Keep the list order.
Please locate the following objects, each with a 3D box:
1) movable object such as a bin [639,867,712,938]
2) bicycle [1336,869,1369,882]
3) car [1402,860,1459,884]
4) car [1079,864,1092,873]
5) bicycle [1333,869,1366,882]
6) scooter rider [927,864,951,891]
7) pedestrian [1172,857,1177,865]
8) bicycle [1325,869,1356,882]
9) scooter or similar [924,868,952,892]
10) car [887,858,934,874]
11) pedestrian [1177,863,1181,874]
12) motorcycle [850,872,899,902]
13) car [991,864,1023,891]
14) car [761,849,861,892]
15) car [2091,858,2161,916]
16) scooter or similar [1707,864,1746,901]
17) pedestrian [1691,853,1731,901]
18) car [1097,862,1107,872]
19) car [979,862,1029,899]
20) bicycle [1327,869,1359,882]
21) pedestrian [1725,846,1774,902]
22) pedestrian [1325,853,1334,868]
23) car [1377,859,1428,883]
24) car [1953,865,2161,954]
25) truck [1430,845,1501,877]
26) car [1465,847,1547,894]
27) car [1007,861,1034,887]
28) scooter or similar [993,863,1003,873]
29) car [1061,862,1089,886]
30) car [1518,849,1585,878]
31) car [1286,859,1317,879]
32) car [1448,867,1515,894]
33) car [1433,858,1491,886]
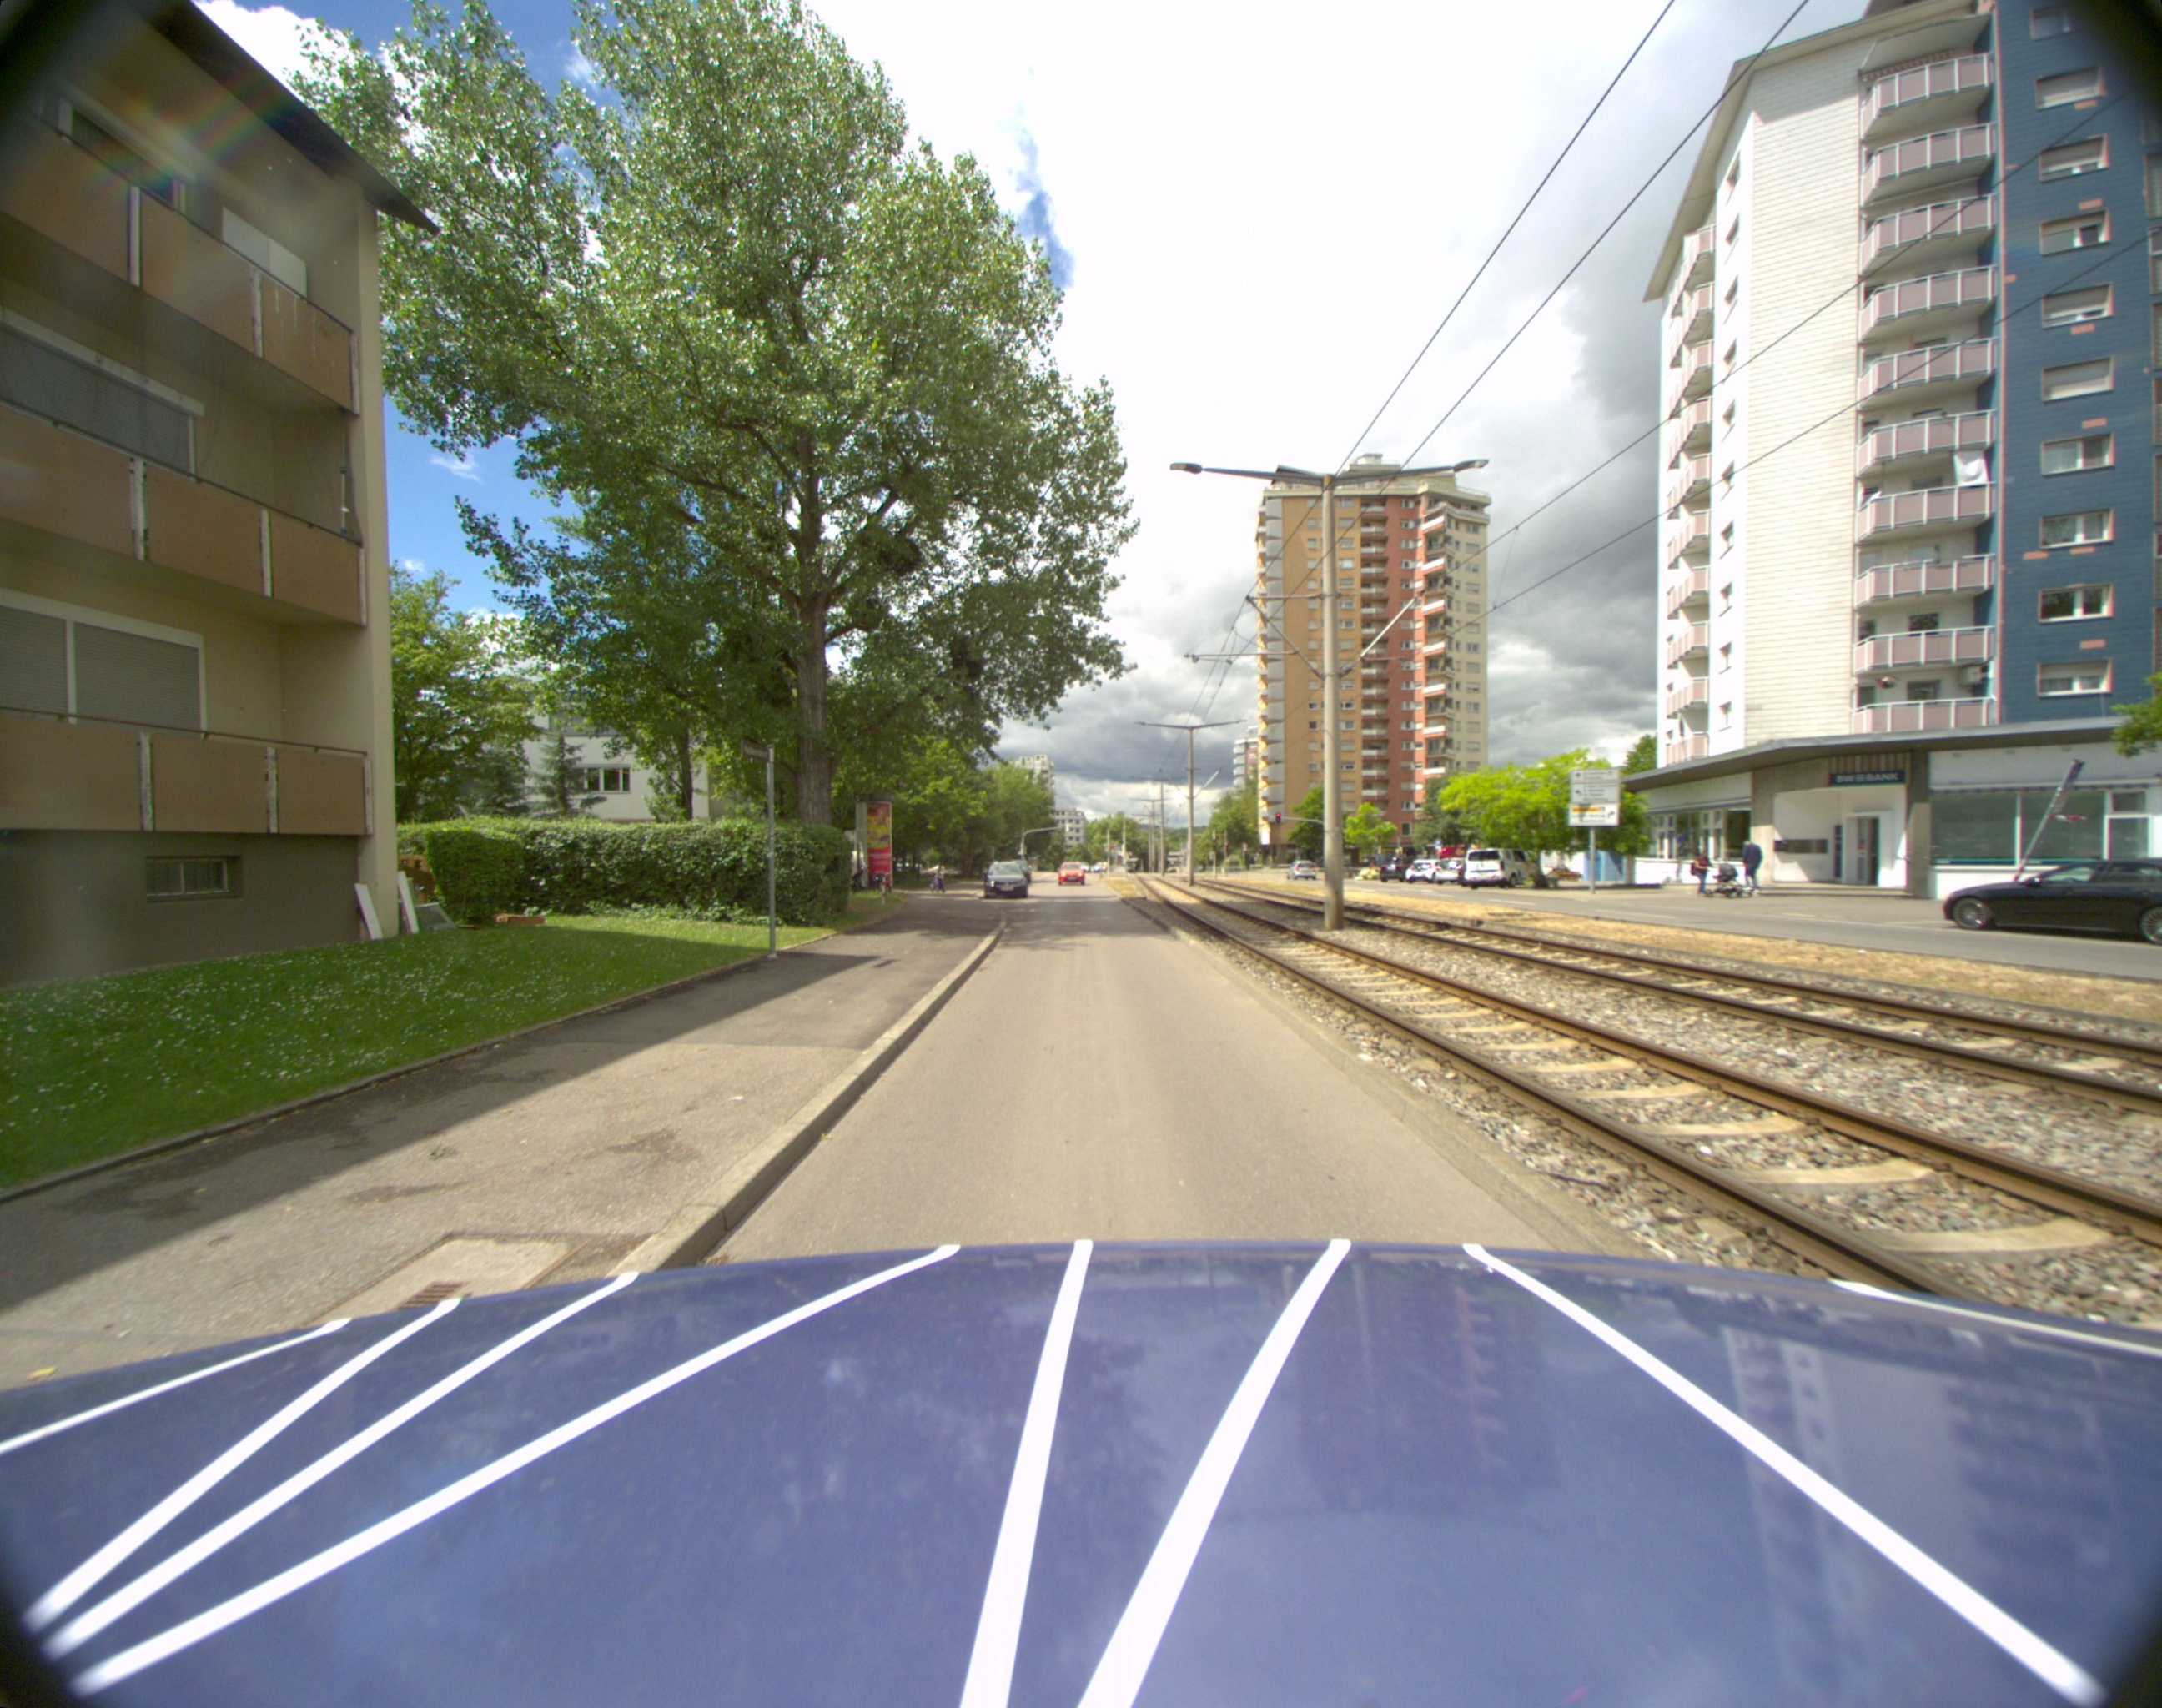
[{"bbox_3d":[-8.470,0.994,15.893,1.101,1.430,0.761,1,-1,-1],"label":"movable object such as a bin"},{"bbox_3d":[21.915,1.743,61.303,2.433,1.059,0.705,1,-1,3],"label":"bicycle"},{"bbox_3d":[22.231,1.158,48.248,3.774,1.487,1.742,1,-1,-38],"label":"car"},{"bbox_3d":[0.668,2.105,107.451,1.605,1.207,3.773,1,-1,5],"label":"car"},{"bbox_3d":[21.920,1.758,62.082,2.433,1.059,0.705,1,-1,3],"label":"bicycle"},{"bbox_3d":[-6.461,1.081,34.610,0.887,1.213,1.282,1,-1,-1],"label":"scooter rider"},{"bbox_3d":[17.286,1.299,140.877,0.865,1.596,0.748,1,-1,3],"label":"pedestrian"},{"bbox_3d":[21.999,1.802,64.409,2.433,1.059,0.705,1,-1,3],"label":"bicycle"},{"bbox_3d":[-6.462,1.177,34.537,0.892,1.058,2.114,1,-2,-1],"label":"scooter or similar"},{"bbox_3d":[-18.281,1.315,81.515,4.655,1.583,1.922,1,2,-4],"label":"car"},{"bbox_3d":[17.503,2.533,135.751,0.771,1.920,0.573,1,-1,2],"label":"pedestrian"},{"bbox_3d":[-8.263,1.312,30.365,1.803,1.203,0.711,1,-1,-21],"label":"motorcycle"},{"bbox_3d":[-4.413,1.382,45.768,1.789,1.556,4.569,1,-1,-4],"label":"car"},{"bbox_3d":[-11.849,0.723,33.375,4.005,1.812,1.807,1,-1,-22],"label":"car"},{"bbox_3d":[28.527,0.829,18.508,4.343,1.434,2.005,0,-1,37],"label":"car"},{"bbox_3d":[20.841,0.910,24.547,0.580,1.118,0.770,-5,0,12],"label":"scooter or similar"},{"bbox_3d":[21.036,0.762,25.402,0.514,1.562,0.987,-5,-2,12],"label":"pedestrian"},{"bbox_3d":[4.508,2.760,161.384,1.999,2.135,4.000,1,-1,0],"label":"car"},{"bbox_3d":[-3.145,1.078,31.529,1.820,1.440,3.826,1,-1,-2],"label":"car"},{"bbox_3d":[21.956,1.787,63.610,2.433,1.059,0.705,1,-1,3],"label":"bicycle"},{"bbox_3d":[21.810,0.635,24.802,0.842,1.782,0.874,1,-1,6],"label":"pedestrian"},{"bbox_3d":[33.456,0.884,102.166,0.920,1.923,0.854,1,-1,3],"label":"pedestrian"},{"bbox_3d":[22.471,1.199,53.016,1.927,1.582,4.009,0,-1,45],"label":"car"},{"bbox_3d":[18.505,0.918,13.255,1.738,1.420,4.382,0,-1,4],"label":"car"},{"bbox_3d":[45.411,0.853,89.956,7.089,3.652,2.549,1,-1,9],"label":"truck"},{"bbox_3d":[20.945,0.820,37.371,4.772,2.143,1.901,1,-1,-40],"label":"car"},{"bbox_3d":[-4.340,1.415,55.018,1.648,1.752,4.570,1,-1,-1],"label":"car"},{"bbox_3d":[-10.419,1.705,95.168,1.212,1.227,0.478,1,-1,-25],"label":"scooter or similar"},{"bbox_3d":[-0.412,1.299,50.328,1.819,1.483,4.000,-1,0,-1],"label":"car"},{"bbox_3d":[54.577,1.112,88.177,6.294,3.279,2.002,0,-1,11],"label":"car"},{"bbox_3d":[18.281,1.244,63.114,1.822,1.523,3.757,1,-1,6],"label":"car"},{"bbox_3d":[22.148,1.445,41.945,4.009,1.375,1.901,1,-1,-40],"label":"car"},{"bbox_3d":[22.867,1.075,45.538,4.009,1.622,1.901,2,-1,-44],"label":"car"}]
